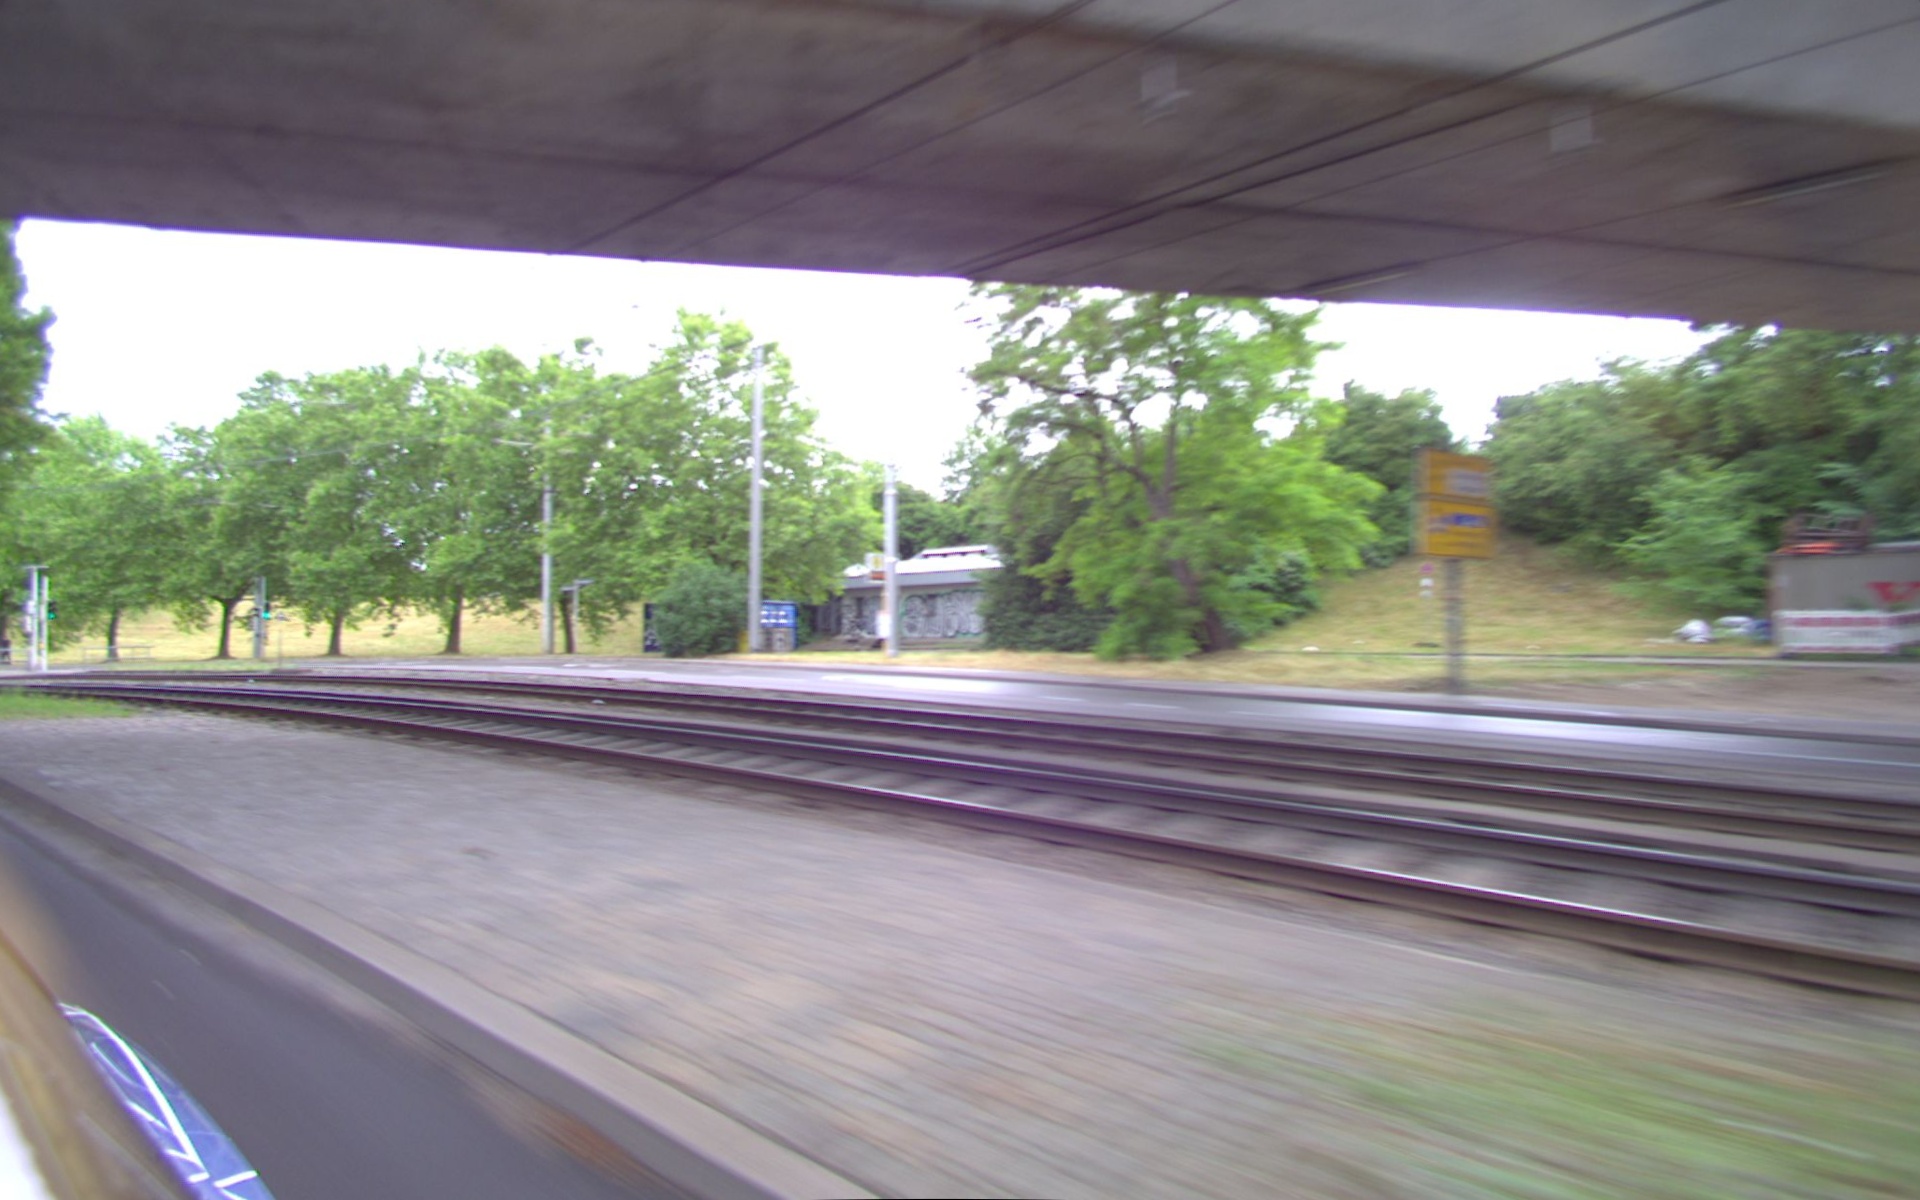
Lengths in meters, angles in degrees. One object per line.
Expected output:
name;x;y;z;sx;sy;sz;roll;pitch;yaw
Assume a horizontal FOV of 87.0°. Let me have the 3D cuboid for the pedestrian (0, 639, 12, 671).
pedestrian;-56.813;3.261;59.936;0.760;1.835;0.725;-2;-1;26
